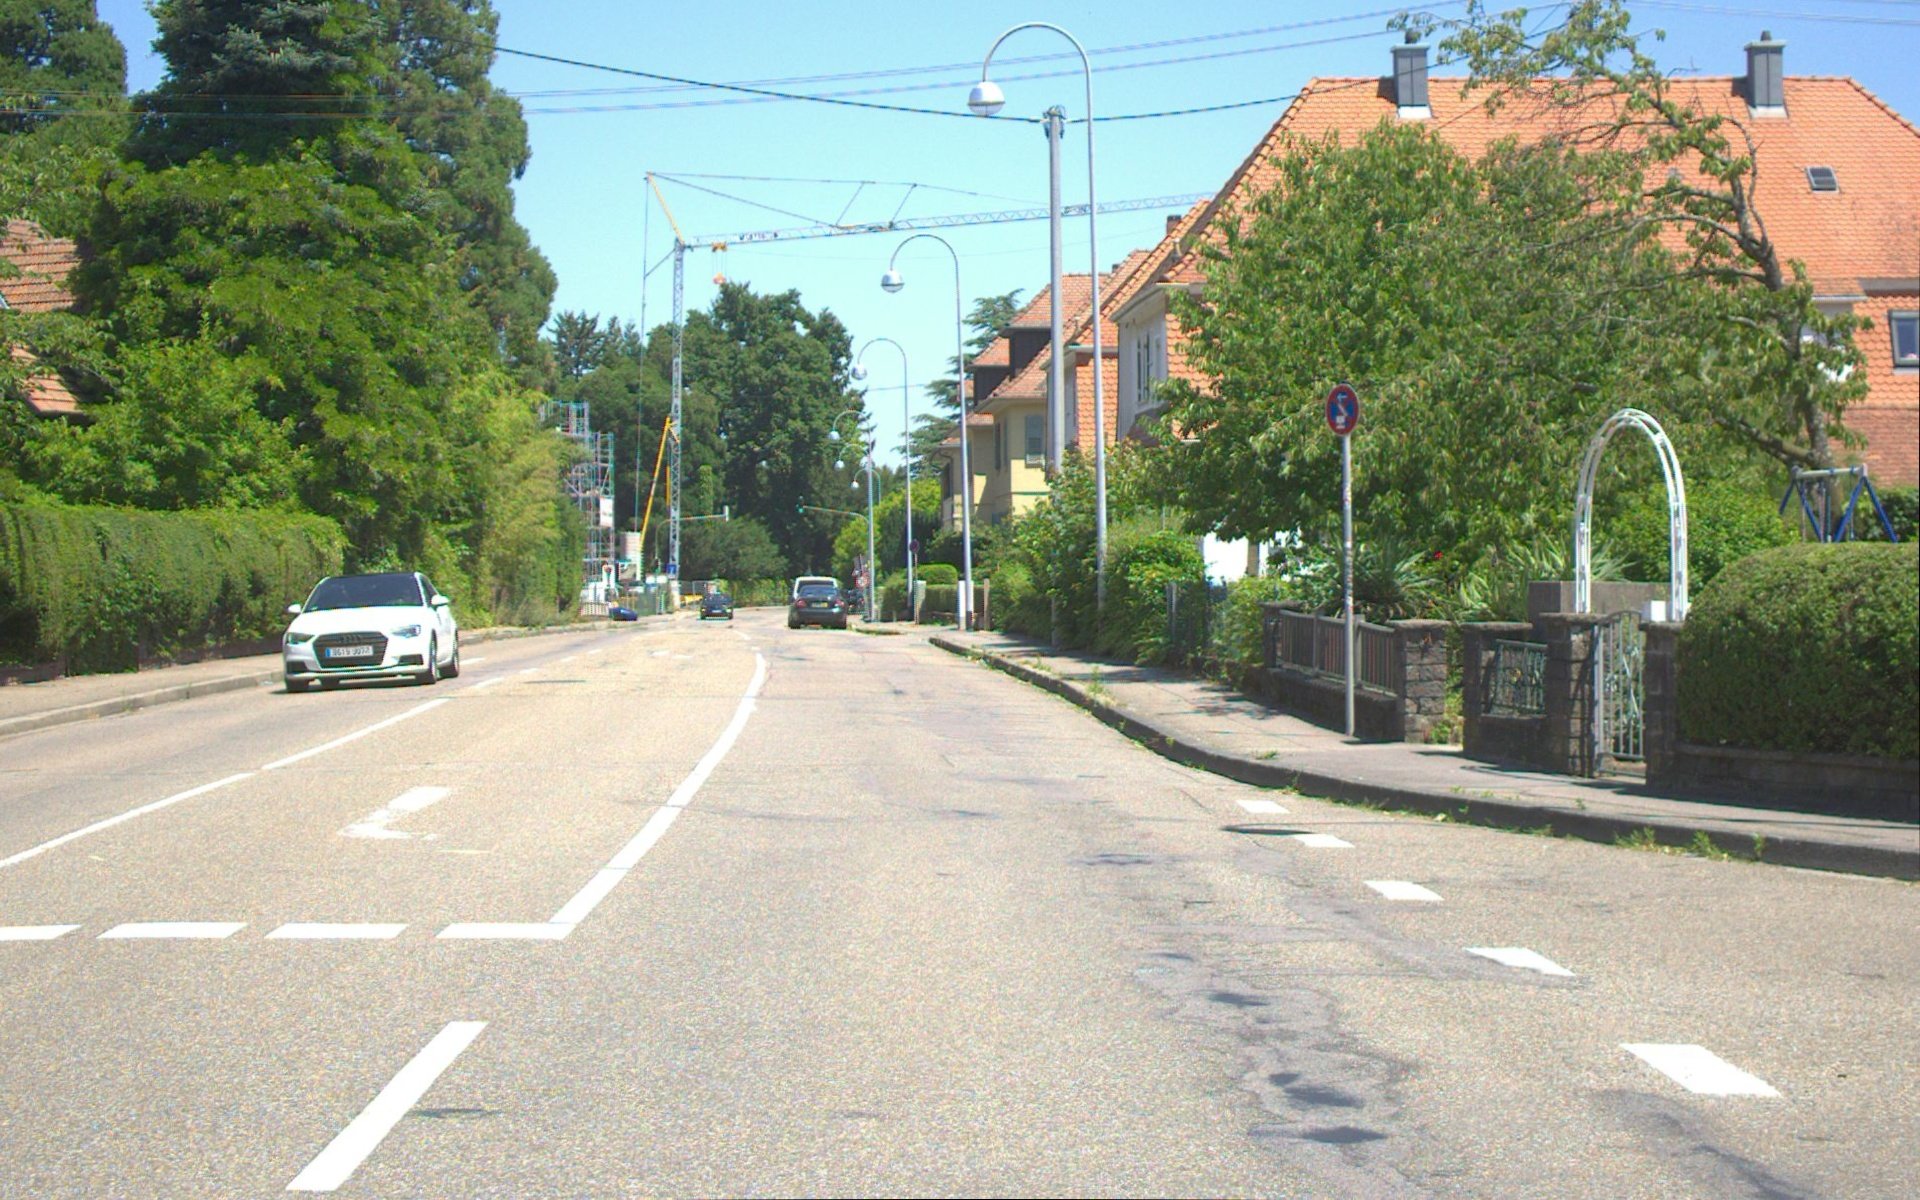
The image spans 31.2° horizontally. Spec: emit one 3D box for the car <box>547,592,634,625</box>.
[{"bbox_3d":[-18.888,0.436,175.740,3.989,1.463,1.964,-2,1,11],"label":"car"}]

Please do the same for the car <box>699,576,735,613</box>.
[{"bbox_3d":[-13.639,-0.316,193.105,1.993,1.844,4.712,0,2,-4],"label":"car"}]

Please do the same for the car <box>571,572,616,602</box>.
[{"bbox_3d":[-17.911,-0.630,168.198,1.660,1.384,3.534,-1,0,3],"label":"car"}]

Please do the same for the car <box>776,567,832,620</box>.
[{"bbox_3d":[-5.938,-0.224,130.237,1.993,1.895,4.823,2,0,-3],"label":"car"}]

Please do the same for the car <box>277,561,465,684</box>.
[{"bbox_3d":[-7.203,0.238,42.382,1.680,1.368,4.207,-2,1,-2],"label":"car"}]

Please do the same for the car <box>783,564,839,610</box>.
[{"bbox_3d":[-4.798,-0.410,110.472,1.692,1.414,4.551,0,-1,-4],"label":"car"}]
